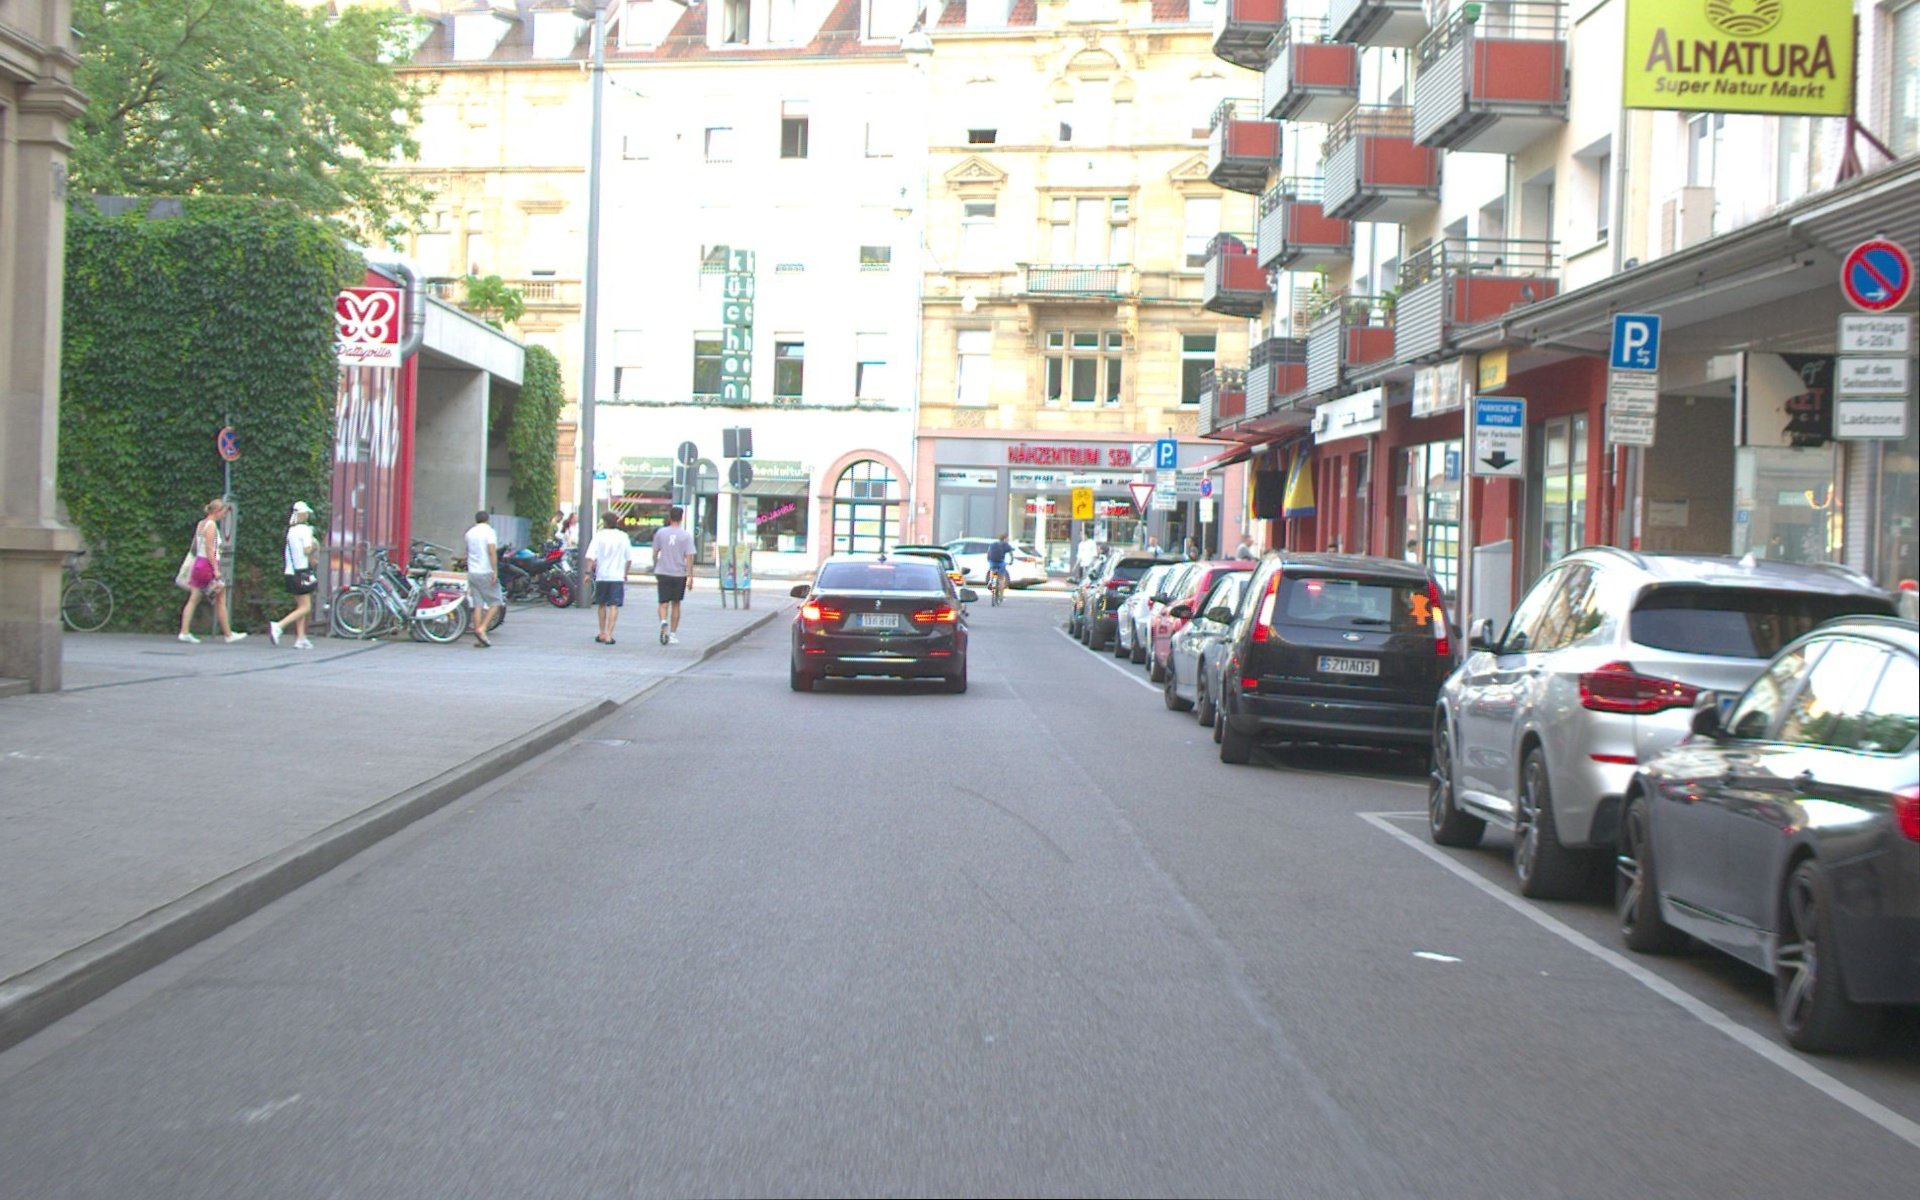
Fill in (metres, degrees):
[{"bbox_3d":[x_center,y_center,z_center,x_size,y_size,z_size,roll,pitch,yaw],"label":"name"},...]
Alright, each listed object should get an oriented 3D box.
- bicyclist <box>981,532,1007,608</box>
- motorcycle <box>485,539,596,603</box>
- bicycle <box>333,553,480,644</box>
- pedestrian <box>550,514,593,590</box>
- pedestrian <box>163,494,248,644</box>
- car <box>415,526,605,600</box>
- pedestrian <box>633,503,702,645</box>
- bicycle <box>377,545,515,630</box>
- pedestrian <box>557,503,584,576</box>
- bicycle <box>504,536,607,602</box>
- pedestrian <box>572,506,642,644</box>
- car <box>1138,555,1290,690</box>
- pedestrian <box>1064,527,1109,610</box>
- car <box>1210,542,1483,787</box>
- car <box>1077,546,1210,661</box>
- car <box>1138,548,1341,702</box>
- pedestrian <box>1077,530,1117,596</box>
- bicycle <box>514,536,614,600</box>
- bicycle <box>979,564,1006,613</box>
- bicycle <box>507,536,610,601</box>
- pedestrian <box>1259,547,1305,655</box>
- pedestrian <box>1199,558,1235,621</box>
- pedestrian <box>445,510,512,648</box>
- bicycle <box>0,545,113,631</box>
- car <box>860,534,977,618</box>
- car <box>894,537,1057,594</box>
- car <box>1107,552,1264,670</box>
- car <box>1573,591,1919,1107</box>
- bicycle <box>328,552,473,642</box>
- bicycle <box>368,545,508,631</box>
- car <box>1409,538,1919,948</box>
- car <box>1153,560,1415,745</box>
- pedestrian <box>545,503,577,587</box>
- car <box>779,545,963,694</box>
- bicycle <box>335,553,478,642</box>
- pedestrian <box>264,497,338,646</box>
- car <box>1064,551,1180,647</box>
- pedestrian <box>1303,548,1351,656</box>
[{"bbox_3d":[0.798,-0.709,80.890,0.523,1.750,0.620,3,1,2],"label":"bicyclist"},{"bbox_3d":[-7.576,-0.527,62.081,1.803,1.060,0.763,3,1,25],"label":"motorcycle"},{"bbox_3d":[-7.204,-0.025,44.782,1.794,1.104,0.500,2,1,0],"label":"bicycle"},{"bbox_3d":[-8.935,-1.104,79.083,0.673,1.740,0.655,2,2,39],"label":"pedestrian"},{"bbox_3d":[-9.059,-0.379,41.294,0.753,1.743,0.846,3,1,-1],"label":"pedestrian"},{"bbox_3d":[-9.748,-0.808,74.393,3.986,1.496,1.892,1,1,-8],"label":"car"},{"bbox_3d":[-3.998,-0.361,47.039,0.744,1.887,1.050,3,1,0],"label":"pedestrian"},{"bbox_3d":[-7.167,-0.174,47.934,1.794,1.104,0.500,3,1,3],"label":"bicycle"},{"bbox_3d":[-8.804,-1.360,77.725,0.500,1.637,0.520,1,1,2],"label":"pedestrian"},{"bbox_3d":[-7.472,-0.577,63.514,1.794,1.104,0.500,3,1,-1],"label":"bicycle"},{"bbox_3d":[-4.789,-0.343,46.728,0.741,1.806,1.009,4,1,-1],"label":"pedestrian"},{"bbox_3d":[3.241,0.252,44.486,1.606,1.507,4.048,4,1,0],"label":"car"},{"bbox_3d":[2.923,-0.734,79.523,0.676,1.871,0.701,2,1,-38],"label":"pedestrian"},{"bbox_3d":[2.910,0.418,26.709,1.794,1.604,4.486,4,1,4],"label":"car"},{"bbox_3d":[2.959,0.014,56.199,1.765,1.636,4.791,4,1,-1],"label":"car"},{"bbox_3d":[3.183,0.239,39.950,1.712,1.507,4.653,4,1,-2],"label":"car"},{"bbox_3d":[3.218,-0.865,80.553,0.735,1.508,0.650,3,1,-9],"label":"pedestrian"},{"bbox_3d":[-7.470,-0.598,64.857,1.794,1.104,0.500,3,1,-5],"label":"bicycle"},{"bbox_3d":[0.776,-0.280,80.919,0.536,1.104,1.800,3,1,2],"label":"bicycle"},{"bbox_3d":[-7.483,-0.588,64.108,1.794,1.104,0.500,3,1,2],"label":"bicycle"},{"bbox_3d":[5.018,0.007,53.600,0.648,1.655,0.655,-1,1,1],"label":"pedestrian"},{"bbox_3d":[5.225,-0.213,69.898,0.687,1.282,0.608,1,0,9],"label":"pedestrian"},{"bbox_3d":[-6.227,-0.277,44.490,0.717,1.748,0.848,2,1,-2],"label":"pedestrian"},{"bbox_3d":[-11.527,-0.158,43.184,1.660,1.010,0.370,2,1,1],"label":"bicycle"},{"bbox_3d":[-0.738,-0.471,63.943,1.878,1.468,4.000,1,1,3],"label":"car"},{"bbox_3d":[0.456,-1.010,100.249,4.357,1.557,1.866,2,0,22],"label":"car"},{"bbox_3d":[3.203,0.124,49.662,1.698,1.447,4.459,4,1,-2],"label":"car"},{"bbox_3d":[3.547,0.784,12.499,1.691,1.410,4.757,4,1,0],"label":"car"},{"bbox_3d":[-7.337,-0.037,45.127,1.794,1.104,0.500,2,1,-1],"label":"bicycle"},{"bbox_3d":[-7.176,-0.171,47.302,1.794,1.104,0.500,3,1,3],"label":"bicycle"},{"bbox_3d":[3.526,0.590,17.465,1.752,1.662,4.757,4,1,0],"label":"car"},{"bbox_3d":[2.934,0.432,32.088,1.736,1.410,4.683,4,1,-2],"label":"car"},{"bbox_3d":[-9.094,-1.257,78.364,0.583,1.876,0.633,1,1,5],"label":"pedestrian"},{"bbox_3d":[-0.889,0.156,36.496,1.765,1.370,4.791,3,1,0],"label":"car"},{"bbox_3d":[-7.346,-0.041,45.663,1.794,1.104,0.500,2,1,-1],"label":"bicycle"},{"bbox_3d":[-7.866,-0.347,41.088,0.649,1.744,0.986,2,1,-1],"label":"pedestrian"},{"bbox_3d":[2.887,-0.059,62.091,1.765,1.497,4.791,4,1,0],"label":"car"},{"bbox_3d":[5.716,0.024,53.573,0.648,1.655,0.794,-1,1,1],"label":"pedestrian"}]
